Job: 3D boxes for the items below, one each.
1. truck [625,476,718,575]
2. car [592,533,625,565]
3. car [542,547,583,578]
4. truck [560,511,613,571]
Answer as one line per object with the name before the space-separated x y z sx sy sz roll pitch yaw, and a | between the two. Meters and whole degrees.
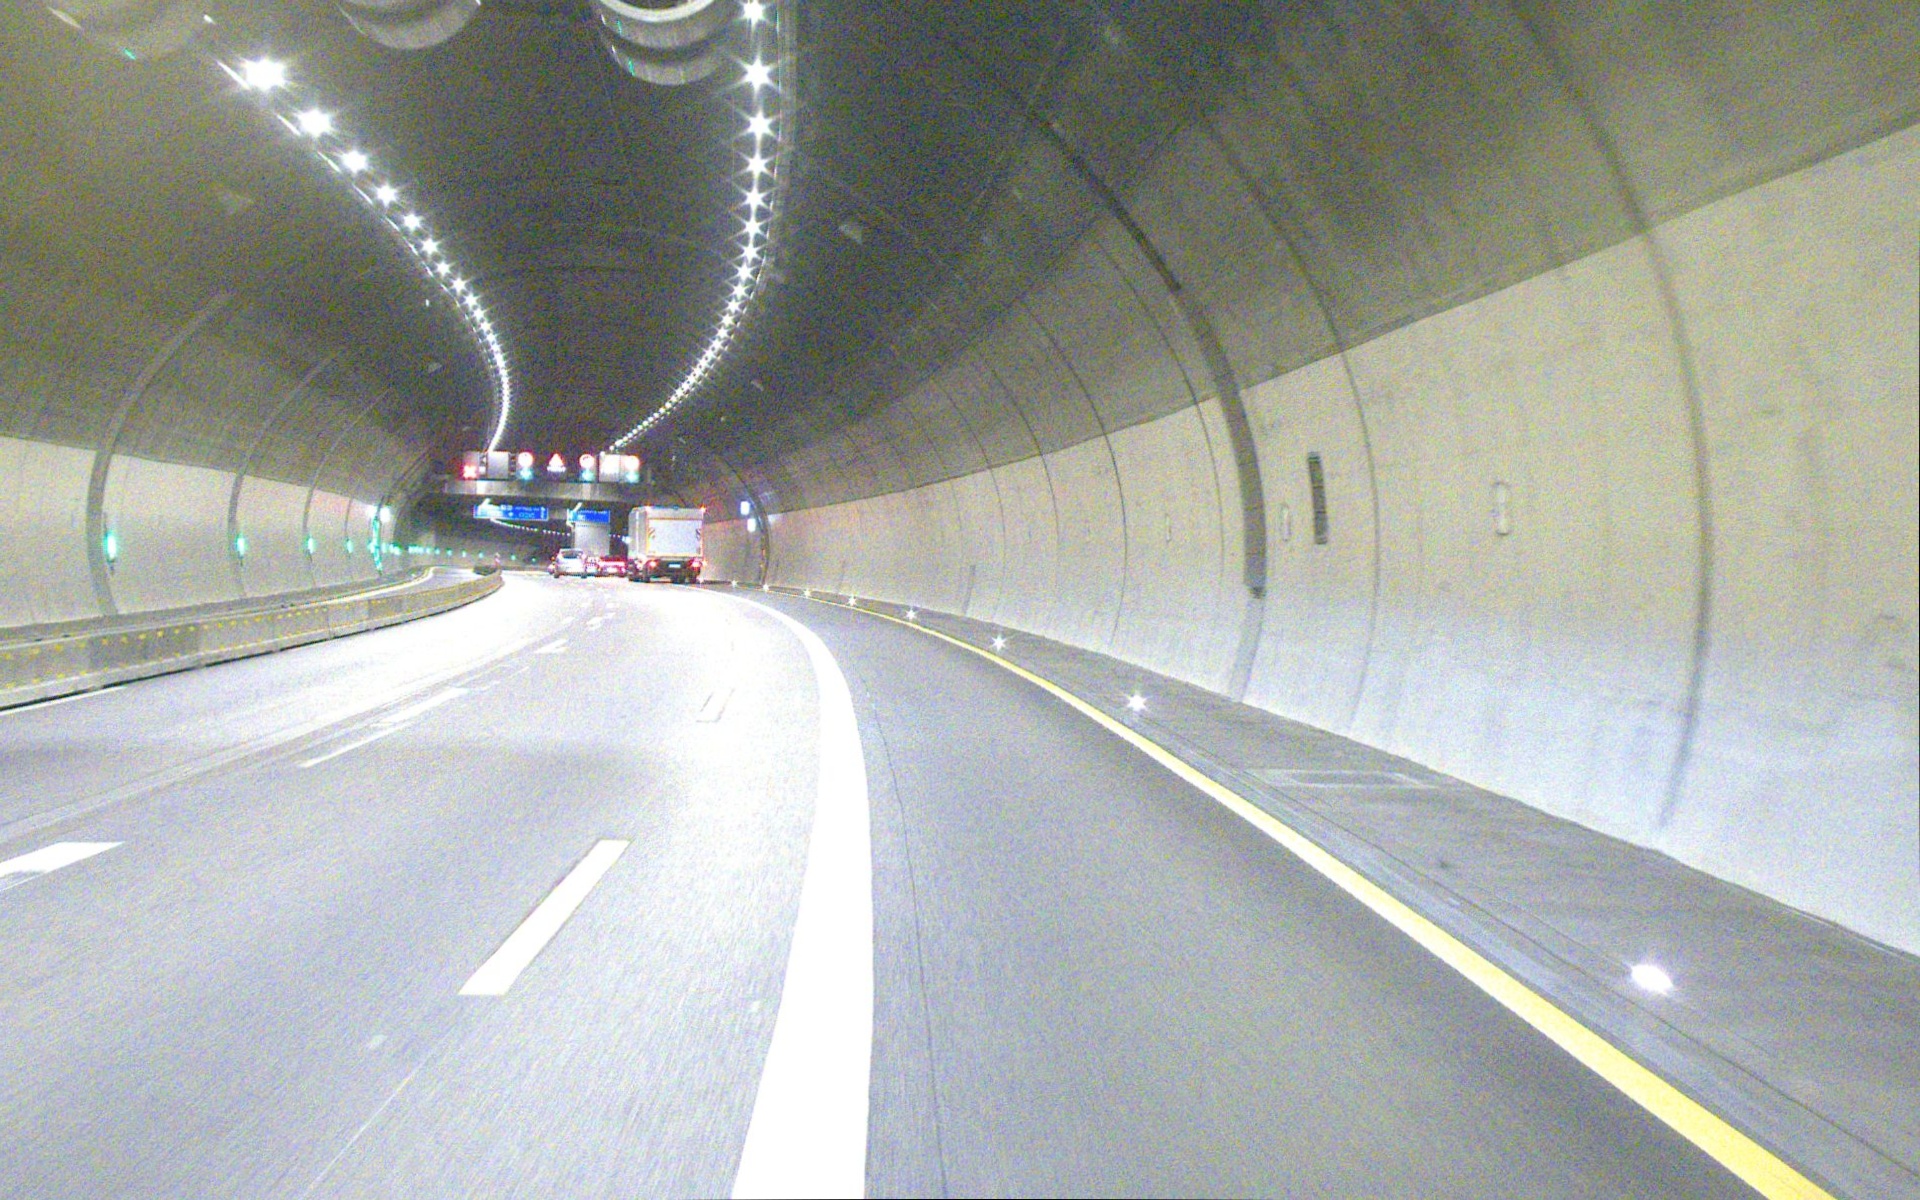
truck | -13.390 -3.455 158.804 3.473 4.301 10.955 1 1 -8
car | -22.219 -3.229 217.239 1.993 2.007 4.001 1 1 -7
car | -21.575 -2.055 186.346 1.993 1.576 4.001 2 1 -9
truck | -27.992 -4.416 257.416 3.473 4.301 10.955 1 1 -8
